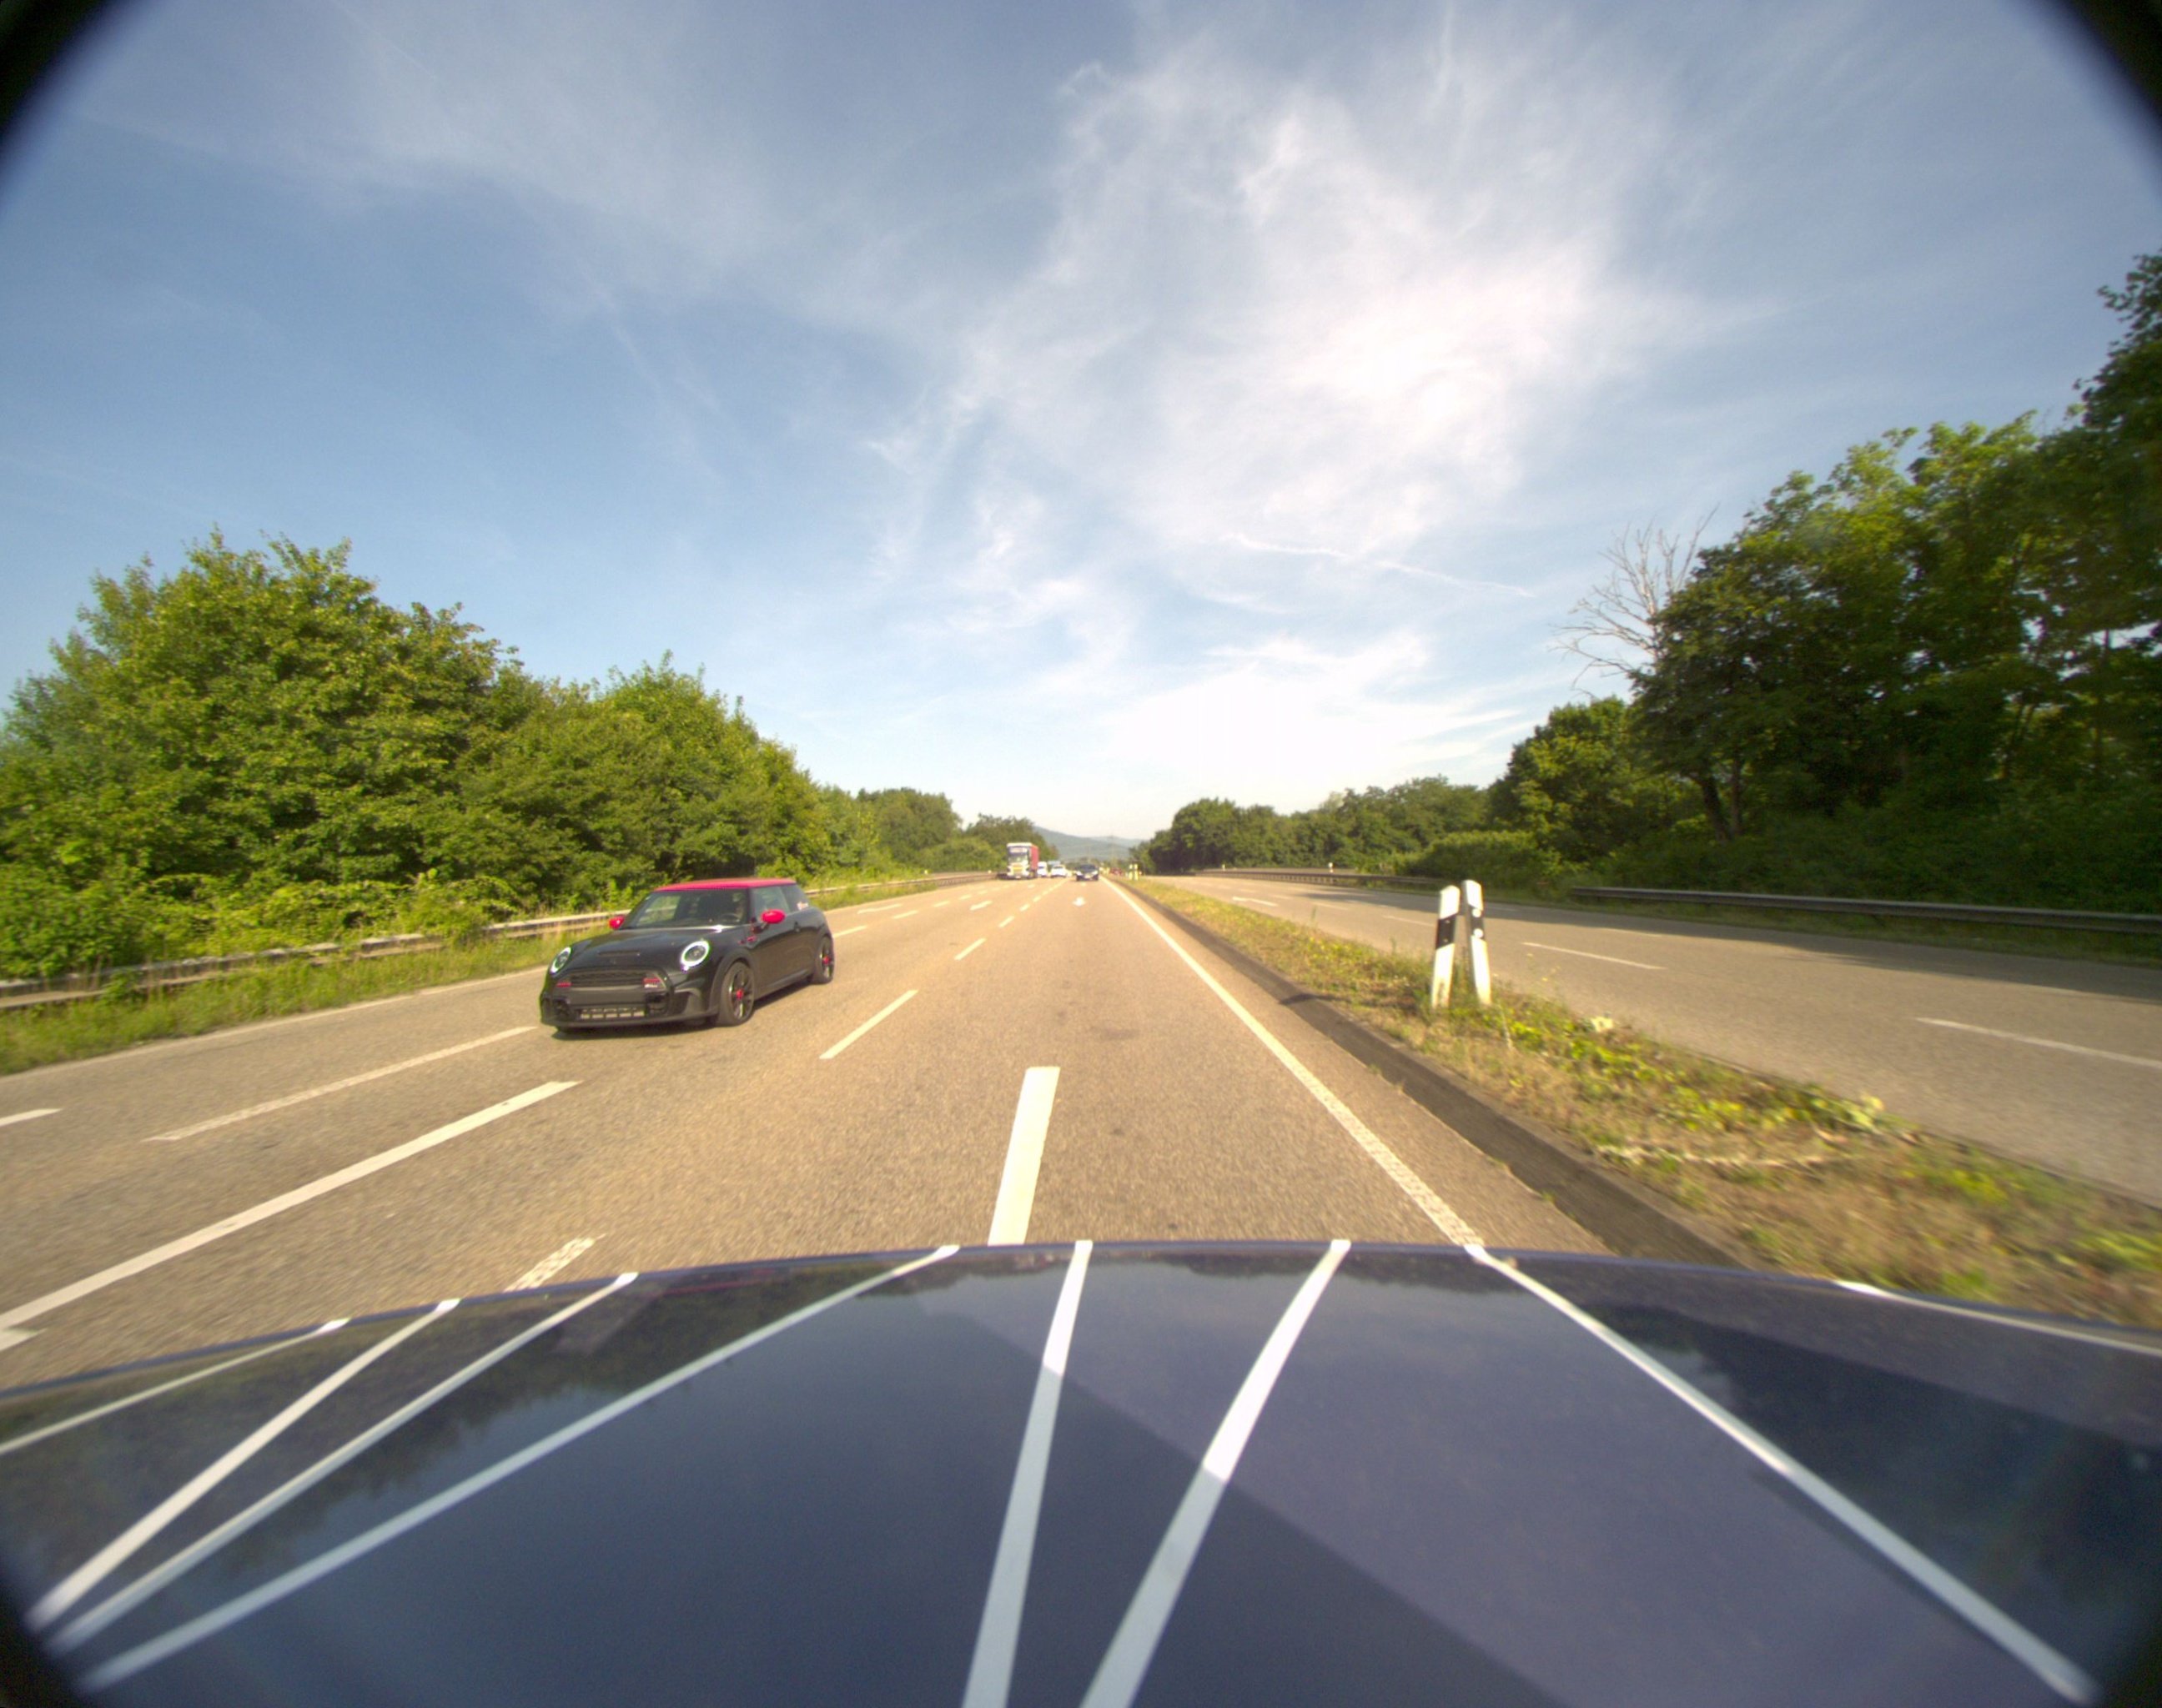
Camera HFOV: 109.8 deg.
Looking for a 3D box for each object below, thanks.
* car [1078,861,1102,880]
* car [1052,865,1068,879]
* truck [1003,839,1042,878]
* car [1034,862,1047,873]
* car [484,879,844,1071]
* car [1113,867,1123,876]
[{"bbox_3d":[0.744,1.352,64.572,1.861,1.452,4.569,-2,0,0],"label":"car"},{"bbox_3d":[-2.517,2.218,93.309,1.875,1.625,4.833,0,0,-1],"label":"car"},{"bbox_3d":[-6.607,0.471,88.379,3.197,3.995,14.563,-2,0,0],"label":"truck"},{"bbox_3d":[-6.575,2.197,122.818,1.875,1.625,4.833,0,0,-1],"label":"car"},{"bbox_3d":[-4.223,1.119,8.541,1.824,1.459,3.872,-2,0,0],"label":"car"},{"bbox_3d":[8.109,3.775,166.617,1.998,1.818,4.618,-2,0,0],"label":"car"}]
